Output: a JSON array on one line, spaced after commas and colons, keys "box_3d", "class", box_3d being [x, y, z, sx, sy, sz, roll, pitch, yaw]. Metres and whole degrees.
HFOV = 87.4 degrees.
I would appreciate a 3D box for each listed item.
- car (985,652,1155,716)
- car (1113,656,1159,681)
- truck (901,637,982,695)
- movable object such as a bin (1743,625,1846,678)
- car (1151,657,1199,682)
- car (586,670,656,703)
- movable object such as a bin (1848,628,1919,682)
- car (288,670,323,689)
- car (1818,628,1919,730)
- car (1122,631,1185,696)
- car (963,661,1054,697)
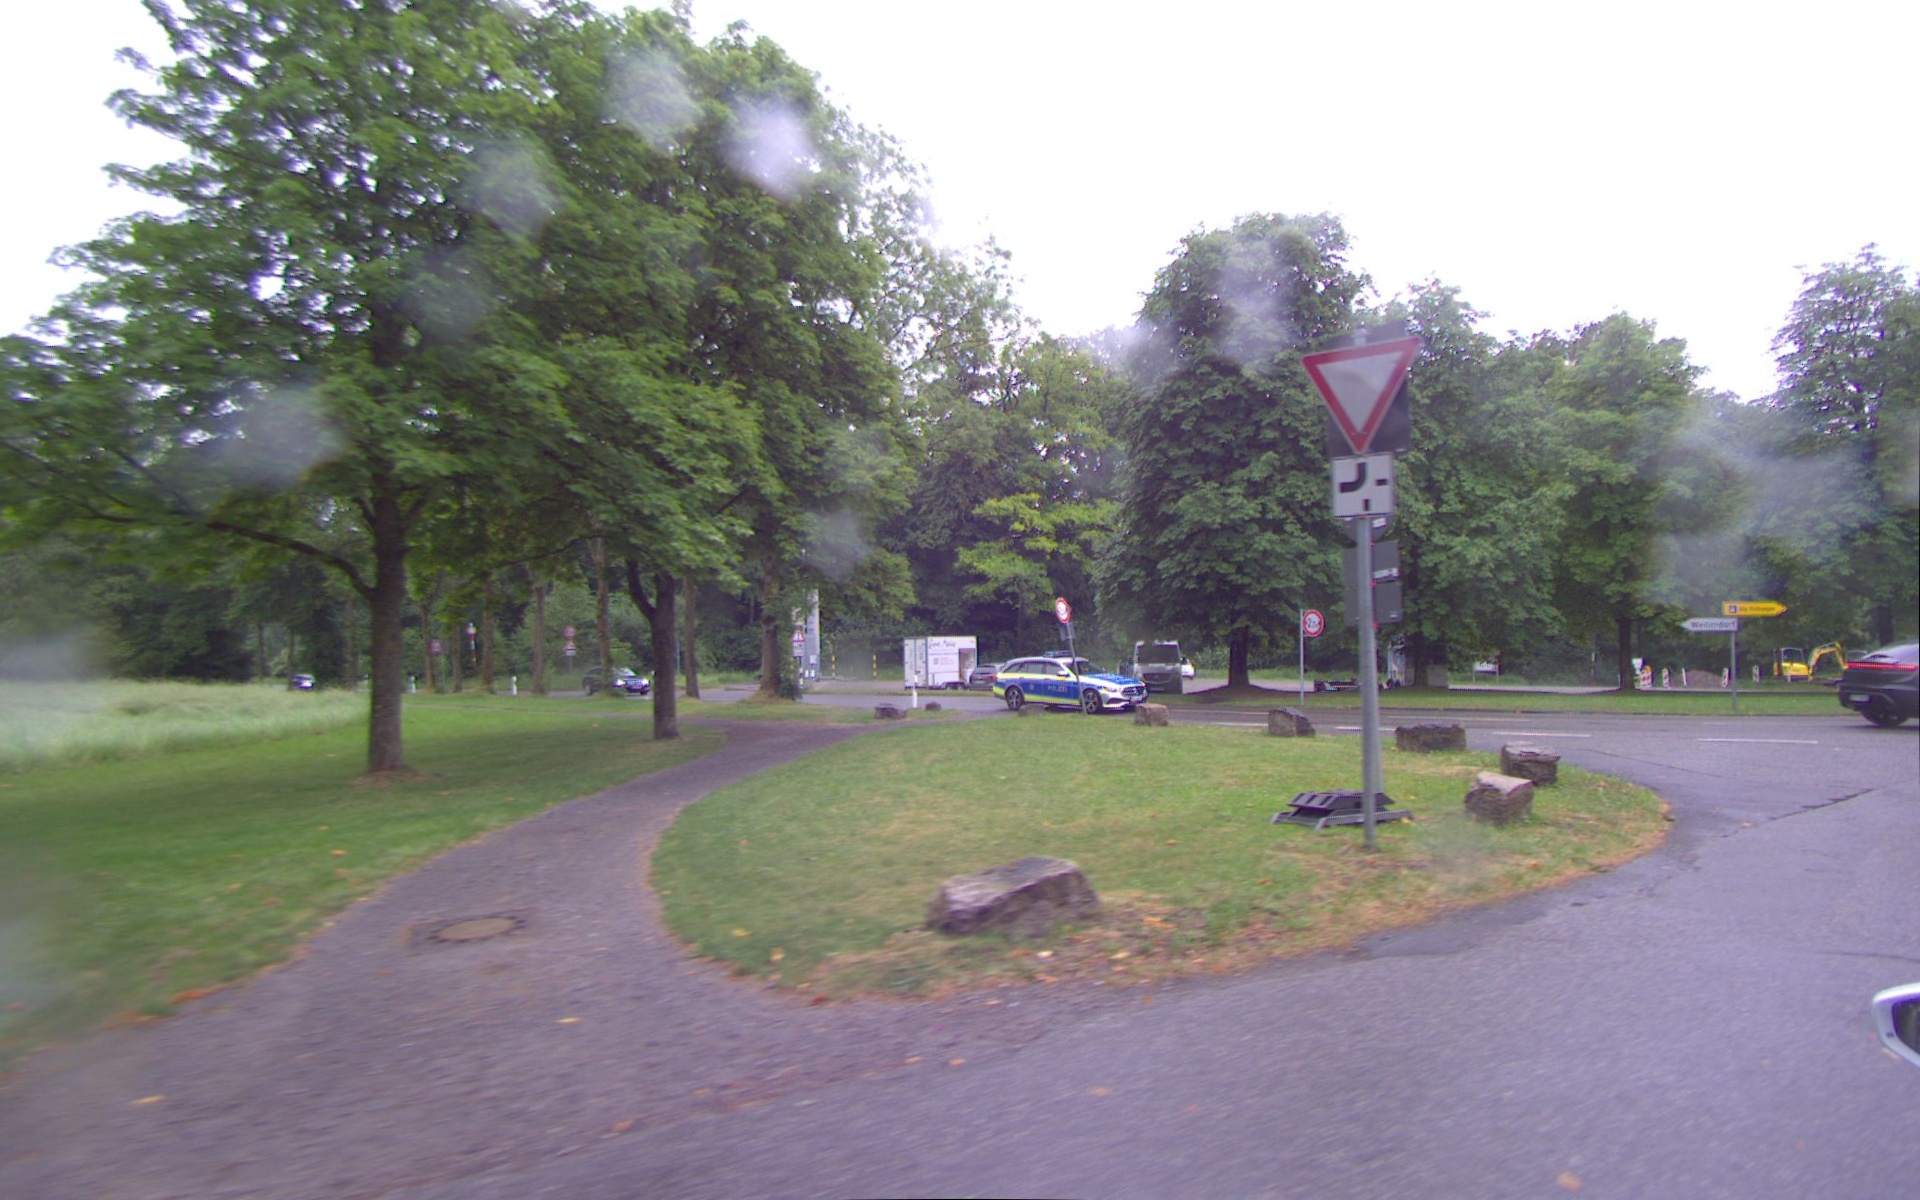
[{"box_3d": [3.017, 2.315, 28.460, 1.720, 1.621, 4.840, 2, -3, -44], "class": "car"}, {"box_3d": [12.427, 4.826, 71.050, 1.964, 1.605, 3.993, 0, -2, -10], "class": "car"}, {"box_3d": [-0.827, 2.947, 45.439, 3.328, 2.474, 1.851, 2, -3, -45], "class": "truck"}, {"box_3d": [55.379, 3.432, 66.690, 3.883, 3.337, 4.616, 2, -4, -41], "class": "movable object such as a bin"}, {"box_3d": [15.229, 4.900, 71.266, 1.964, 1.605, 3.993, 0, -2, -10], "class": "car"}, {"box_3d": [-16.949, 4.280, 50.162, 1.720, 1.502, 4.124, 2, -3, -44], "class": "car"}, {"box_3d": [59.198, 3.448, 63.146, 3.638, 3.337, 4.543, 2, -4, -41], "class": "movable object such as a bin"}, {"box_3d": [-55.426, 6.691, 85.091, 1.720, 1.502, 4.124, 2, -4, -44], "class": "car"}, {"box_3d": [18.230, 1.327, 17.591, 4.483, 1.731, 1.733, -2, -3, 15], "class": "car"}, {"box_3d": [8.043, 2.595, 41.532, 2.344, 2.439, 5.990, 1, -3, 12], "class": "car"}, {"box_3d": [2.136, 3.369, 43.388, 1.743, 1.448, 4.086, -3, -4, 41], "class": "car"}]
